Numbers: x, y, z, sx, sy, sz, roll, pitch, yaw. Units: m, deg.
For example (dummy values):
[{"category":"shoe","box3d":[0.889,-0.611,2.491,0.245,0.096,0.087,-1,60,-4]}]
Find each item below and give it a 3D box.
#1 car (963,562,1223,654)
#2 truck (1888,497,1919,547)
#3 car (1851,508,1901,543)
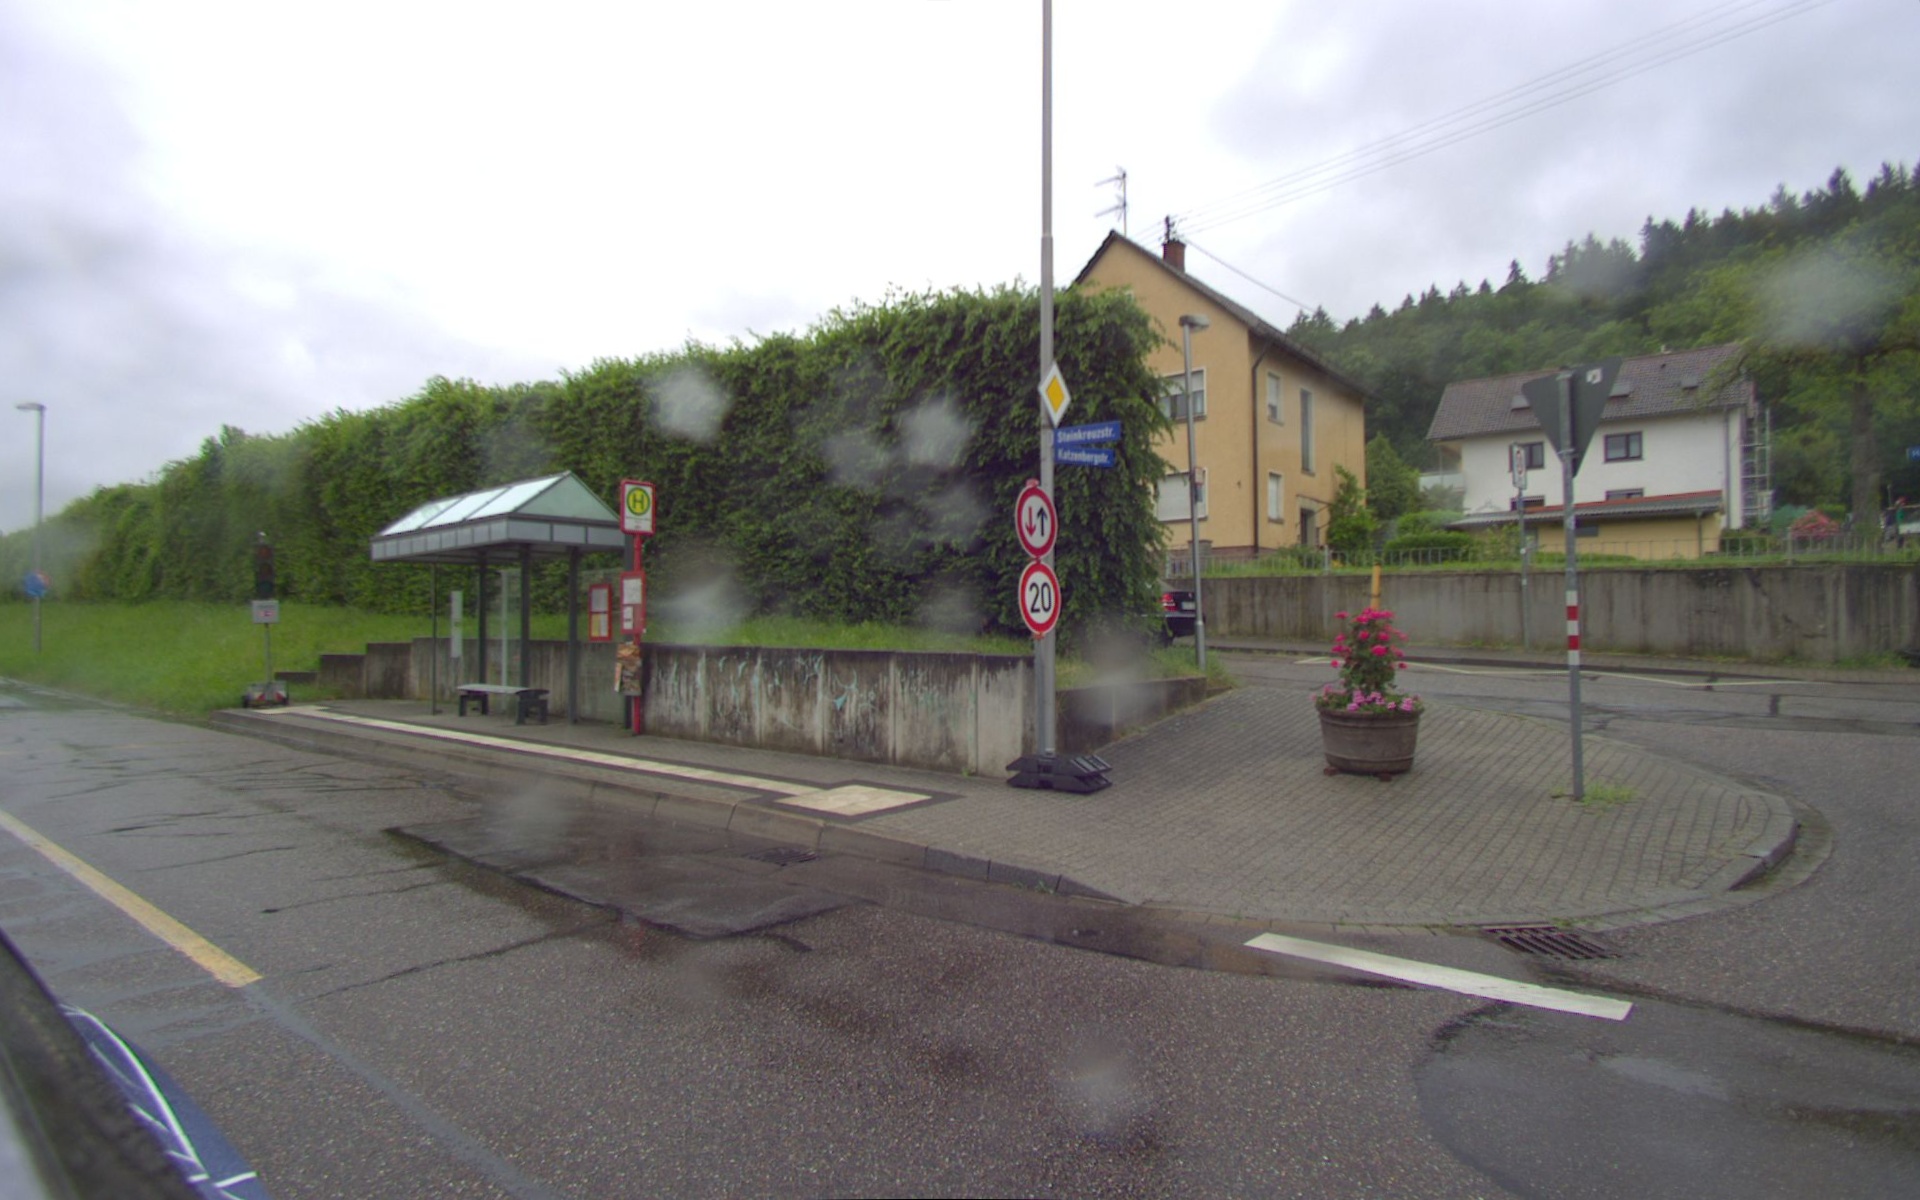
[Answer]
[{"category":"car","box3d":[2.241,0.073,17.668,4.219,1.399,1.727,2,1,39]},{"category":"truck","box3d":[44.873,-3.623,46.946,2.298,2.142,6.002,-1,1,39]},{"category":"car","box3d":[58.496,-4.717,64.679,1.913,2.028,3.952,-1,2,36]}]
